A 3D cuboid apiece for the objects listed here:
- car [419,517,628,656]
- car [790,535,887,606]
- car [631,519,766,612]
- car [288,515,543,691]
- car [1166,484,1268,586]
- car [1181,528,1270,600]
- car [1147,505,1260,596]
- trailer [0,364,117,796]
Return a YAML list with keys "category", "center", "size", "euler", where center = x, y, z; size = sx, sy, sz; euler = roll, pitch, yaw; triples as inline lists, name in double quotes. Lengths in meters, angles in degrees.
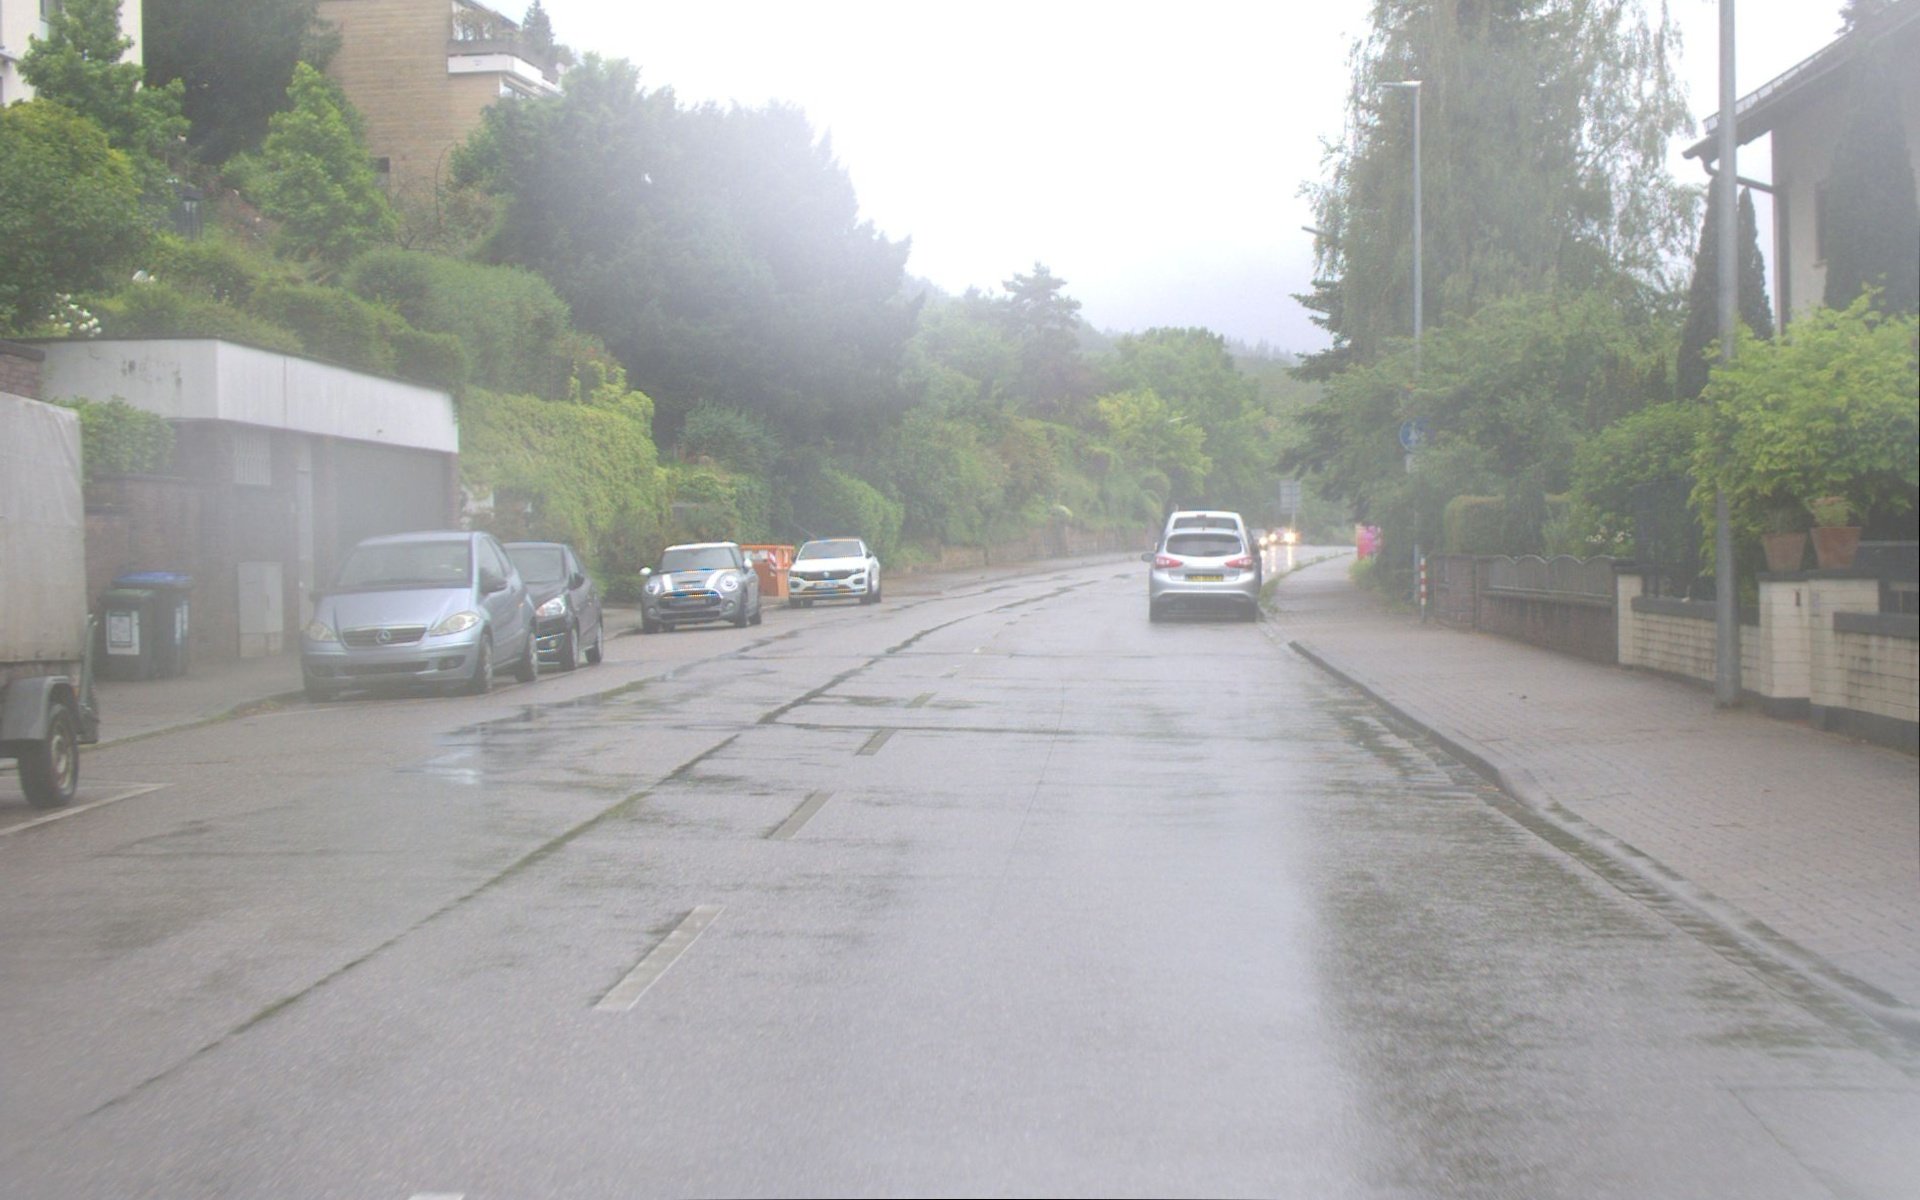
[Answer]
- category: "car"
  center: [-4.966, -0.189, 39.559]
  size: [1.756, 1.404, 3.705]
  euler: [-3, 1, 2]
- category: "car"
  center: [-2.658, -0.662, 75.957]
  size: [1.756, 1.492, 4.220]
  euler: [-2, 1, 3]
- category: "car"
  center: [-4.288, -0.589, 56.851]
  size: [1.756, 1.397, 3.770]
  euler: [-3, 1, 2]
- category: "car"
  center: [-5.339, -0.016, 34.148]
  size: [1.756, 1.534, 3.756]
  euler: [-3, 1, 2]
- category: "car"
  center: [4.710, -1.178, 62.627]
  size: [1.785, 1.784, 4.360]
  euler: [0, 1, 5]
- category: "car"
  center: [5.343, -0.733, 68.796]
  size: [1.709, 1.398, 4.203]
  euler: [0, 1, 5]
- category: "car"
  center: [4.085, -0.829, 57.167]
  size: [1.789, 1.455, 4.307]
  euler: [0, 1, 5]
- category: "trailer"
  center: [-6.064, -0.093, 19.473]
  size: [1.537, 2.391, 3.072]
  euler: [-3, 1, 4]
